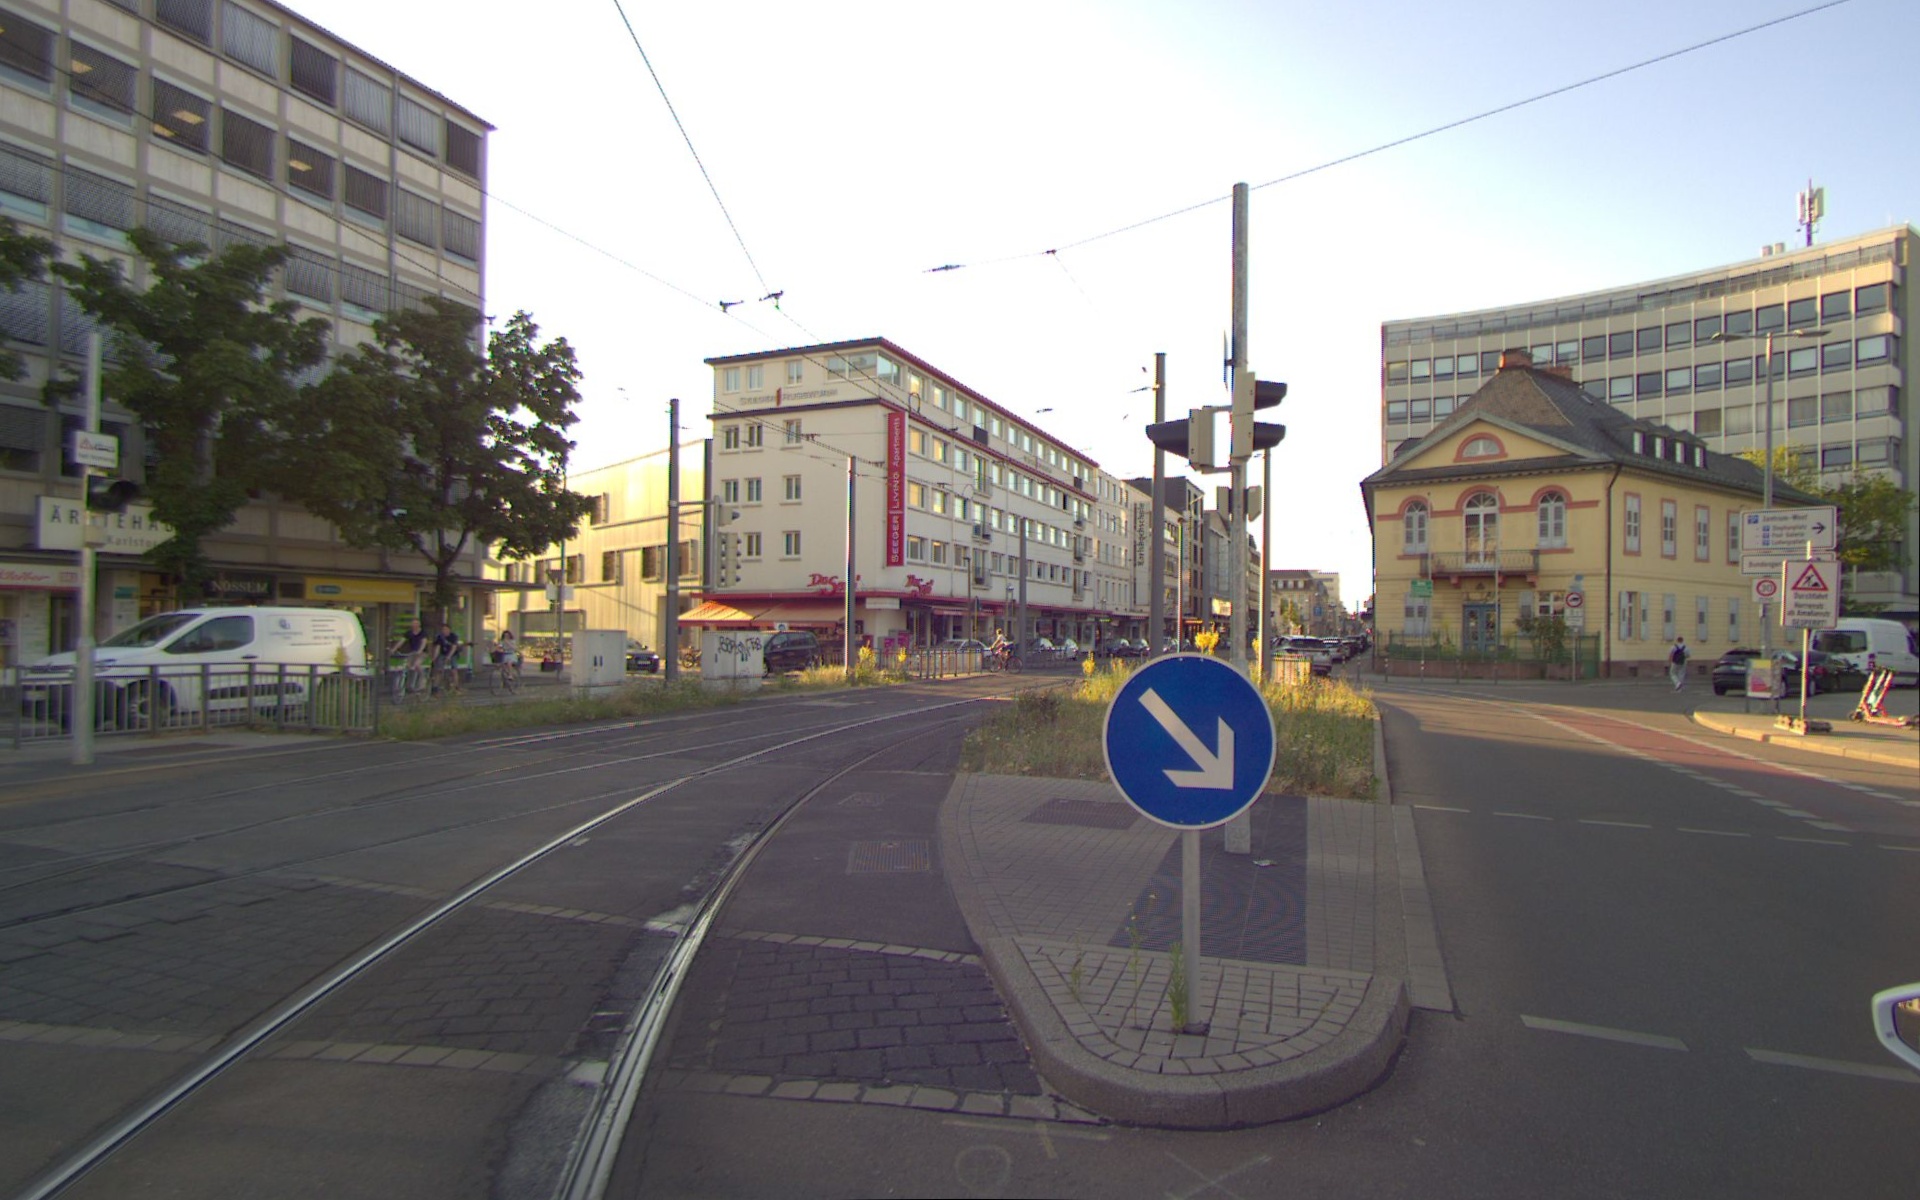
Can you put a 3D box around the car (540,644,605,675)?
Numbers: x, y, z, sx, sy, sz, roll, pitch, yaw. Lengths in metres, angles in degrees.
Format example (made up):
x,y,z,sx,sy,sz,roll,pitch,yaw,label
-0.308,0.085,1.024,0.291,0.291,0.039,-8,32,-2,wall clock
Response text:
x,y,z,sx,sy,sz,roll,pitch,yaw,label
-22.588,3.445,58.491,4.192,1.594,1.875,-1,-3,44,car

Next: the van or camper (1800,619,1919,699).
x,y,z,sx,sy,sz,roll,pitch,yaw,label
34.196,2.208,37.801,6.378,2.811,2.066,3,-2,-32,van or camper

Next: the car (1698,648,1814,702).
x,y,z,sx,sy,sz,roll,pitch,yaw,label
25.241,2.349,31.825,4.248,1.563,1.767,3,-2,-35,car

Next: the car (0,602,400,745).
x,y,z,sx,sy,sz,roll,pitch,yaw,label
-11.711,1.056,15.813,1.962,1.862,4.875,0,-2,22,car

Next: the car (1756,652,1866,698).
x,y,z,sx,sy,sz,roll,pitch,yaw,label
29.276,2.541,34.532,4.427,1.448,1.719,2,-2,-33,car

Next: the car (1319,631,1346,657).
x,y,z,sx,sy,sz,roll,pitch,yaw,label
26.166,3.058,70.480,1.703,1.731,3.806,1,-2,21,car

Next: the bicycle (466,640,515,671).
x,y,z,sx,sy,sz,roll,pitch,yaw,label
-19.786,2.352,42.360,0.546,1.201,1.773,-1,-5,39,bicycle

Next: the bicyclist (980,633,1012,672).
x,y,z,sx,sy,sz,roll,pitch,yaw,label
1.382,2.001,38.387,0.913,1.460,0.834,0,-2,26,bicyclist

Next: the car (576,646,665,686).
x,y,z,sx,sy,sz,roll,pitch,yaw,label
-13.767,2.613,40.617,1.726,1.454,4.315,2,-3,-44,car

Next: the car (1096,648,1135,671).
x,y,z,sx,sy,sz,roll,pitch,yaw,label
12.162,4.594,78.441,1.963,1.687,3.997,1,-2,26,car

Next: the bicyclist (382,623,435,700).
x,y,z,sx,sy,sz,roll,pitch,yaw,label
-12.047,1.339,21.945,0.723,1.633,0.700,1,-2,-3,bicyclist

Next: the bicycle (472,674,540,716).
x,y,z,sx,sy,sz,roll,pitch,yaw,label
-11.689,2.437,25.938,0.710,0.942,1.956,1,-2,6,bicycle

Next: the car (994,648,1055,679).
x,y,z,sx,sy,sz,roll,pitch,yaw,label
3.910,3.778,60.160,1.963,1.687,4.836,1,-2,26,car

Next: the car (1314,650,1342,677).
x,y,z,sx,sy,sz,roll,pitch,yaw,label
23.986,4.142,65.409,1.703,1.730,3.440,0,-4,21,car

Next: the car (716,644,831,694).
x,y,z,sx,sy,sz,roll,pitch,yaw,label
-6.473,2.372,35.383,1.961,1.594,4.302,1,-2,22,car

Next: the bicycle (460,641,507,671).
x,y,z,sx,sy,sz,roll,pitch,yaw,label
-20.460,2.398,43.186,0.531,1.201,1.711,-1,-5,39,bicycle

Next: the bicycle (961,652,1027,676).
x,y,z,sx,sy,sz,roll,pitch,yaw,label
1.279,2.440,38.424,2.377,0.858,0.846,0,-2,27,bicycle

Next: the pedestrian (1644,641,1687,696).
x,y,z,sx,sy,sz,roll,pitch,yaw,label
23.248,2.246,33.088,0.819,1.747,0.872,2,-1,-29,pedestrian

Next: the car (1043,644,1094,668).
x,y,z,sx,sy,sz,roll,pitch,yaw,label
7.094,3.639,65.440,1.963,1.484,4.398,0,-2,26,car

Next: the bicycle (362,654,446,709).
x,y,z,sx,sy,sz,roll,pitch,yaw,label
-12.048,1.737,21.835,0.742,1.090,2.057,1,-2,-3,bicycle

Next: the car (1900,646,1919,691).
x,y,z,sx,sy,sz,roll,pitch,yaw,label
42.170,2.950,43.122,3.978,1.873,1.703,2,-2,-32,car

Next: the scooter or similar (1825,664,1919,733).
x,y,z,sx,sy,sz,roll,pitch,yaw,label
19.007,2.011,20.778,0.455,1.309,1.643,2,-2,-25,scooter or similar

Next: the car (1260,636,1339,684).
x,y,z,sx,sy,sz,roll,pitch,yaw,label
12.897,2.248,38.426,1.910,1.682,4.539,1,-2,6,car

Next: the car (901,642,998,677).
x,y,z,sx,sy,sz,roll,pitch,yaw,label
-0.426,2.644,45.516,2.008,1.460,4.644,-1,-2,37,car

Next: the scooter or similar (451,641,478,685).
x,y,z,sx,sy,sz,roll,pitch,yaw,label
-15.565,1.973,31.516,0.510,1.339,1.268,2,-2,-36,scooter or similar

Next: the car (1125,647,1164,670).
x,y,z,sx,sy,sz,roll,pitch,yaw,label
15.383,4.891,83.736,1.963,1.687,4.635,4,-2,26,car

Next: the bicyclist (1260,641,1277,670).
x,y,z,sx,sy,sz,roll,pitch,yaw,label
17.525,3.134,57.034,0.816,1.589,0.787,1,-2,21,bicyclist

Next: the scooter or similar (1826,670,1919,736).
x,y,z,sx,sy,sz,roll,pitch,yaw,label
19.425,2.160,21.272,0.604,1.276,1.517,2,-2,-25,scooter or similar

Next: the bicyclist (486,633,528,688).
x,y,z,sx,sy,sz,roll,pitch,yaw,label
-11.676,1.551,25.911,0.701,1.387,0.684,1,-2,6,bicyclist

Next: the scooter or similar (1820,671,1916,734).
x,y,z,sx,sy,sz,roll,pitch,yaw,label
18.537,2.080,20.537,0.455,1.181,1.396,2,-2,-24,scooter or similar

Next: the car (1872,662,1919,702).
x,y,z,sx,sy,sz,roll,pitch,yaw,label
38.783,3.307,40.723,4.054,1.479,1.683,2,-2,-32,car

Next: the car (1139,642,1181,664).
x,y,z,sx,sy,sz,roll,pitch,yaw,label
15.718,4.122,78.723,2.164,1.580,4.275,1,-2,27,car
